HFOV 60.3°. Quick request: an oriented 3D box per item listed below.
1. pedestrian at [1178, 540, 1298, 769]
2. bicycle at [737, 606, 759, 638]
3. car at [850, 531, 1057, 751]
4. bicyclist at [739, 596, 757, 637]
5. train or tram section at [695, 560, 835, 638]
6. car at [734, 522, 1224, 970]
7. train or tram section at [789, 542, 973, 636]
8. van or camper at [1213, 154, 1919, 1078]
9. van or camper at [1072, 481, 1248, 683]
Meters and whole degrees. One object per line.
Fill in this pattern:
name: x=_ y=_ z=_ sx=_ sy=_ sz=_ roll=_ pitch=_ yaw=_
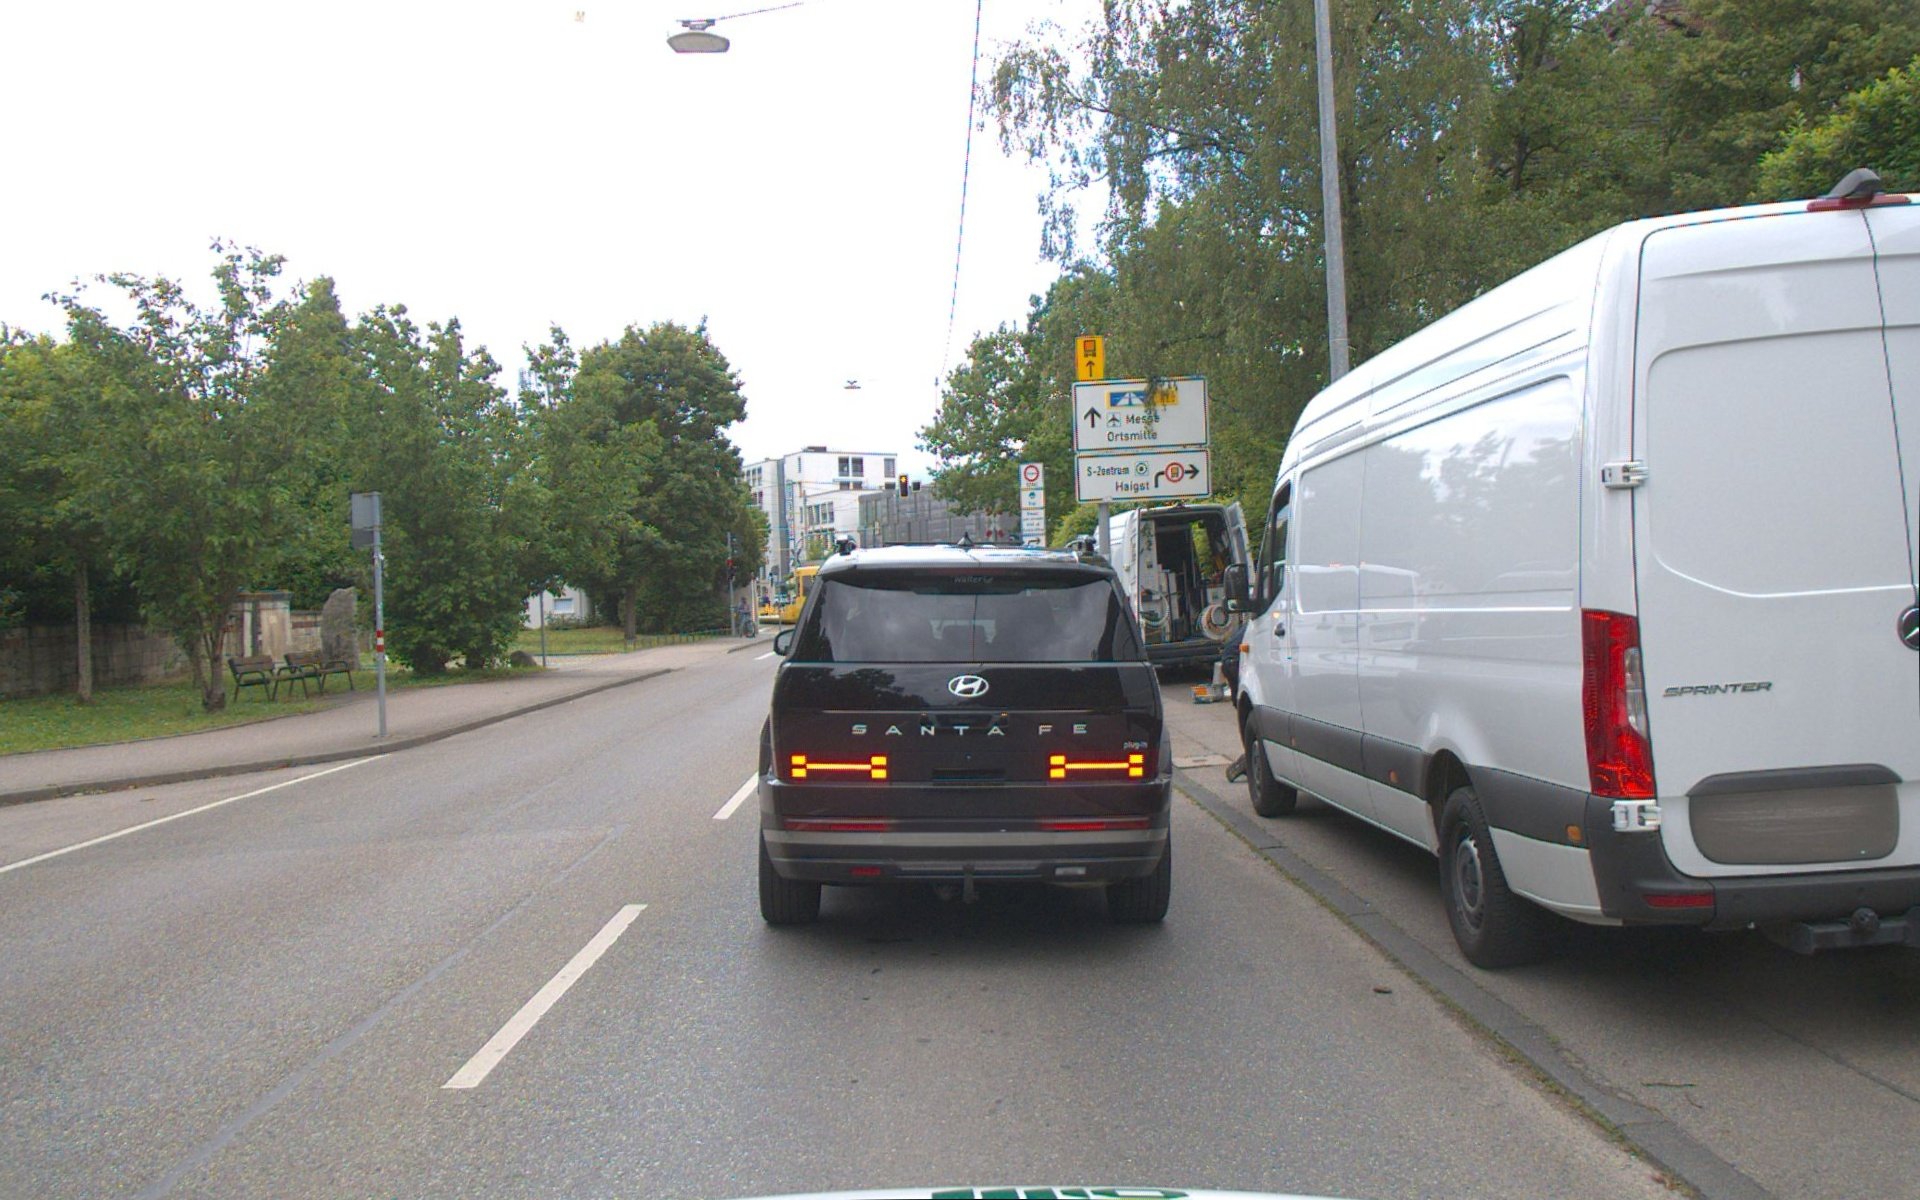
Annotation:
pedestrian: x=2.263 y=0.436 z=13.501 sx=0.609 sy=1.773 sz=0.601 roll=-5 pitch=0 yaw=-24
bicycle: x=-8.981 y=0.941 z=69.934 sx=0.664 sy=1.302 sz=2.491 roll=0 pitch=-2 yaw=-14
car: x=-0.110 y=0.375 z=17.567 sx=1.924 sy=2.036 sz=3.999 roll=-1 pitch=0 yaw=-2
bicyclist: x=-8.984 y=0.703 z=69.969 sx=0.664 sy=1.688 sz=0.855 roll=0 pitch=-2 yaw=-14
train or tram section: x=-13.273 y=0.123 z=109.660 sx=3.155 sy=4.602 sz=18.520 roll=0 pitch=-2 yaw=-27
car: x=0.025 y=0.566 z=8.549 sx=1.924 sy=1.741 sz=3.999 roll=-1 pitch=0 yaw=-2
train or tram section: x=-4.852 y=-0.399 z=93.005 sx=3.155 sy=4.602 sz=18.520 roll=0 pitch=-2 yaw=-27
van or camper: x=2.856 y=-0.006 z=8.099 sx=1.924 sy=2.673 sz=6.356 roll=-4 pitch=0 yaw=-2
van or camper: x=3.116 y=-0.278 z=26.932 sx=1.924 sy=2.845 sz=5.285 roll=-4 pitch=0 yaw=-2
